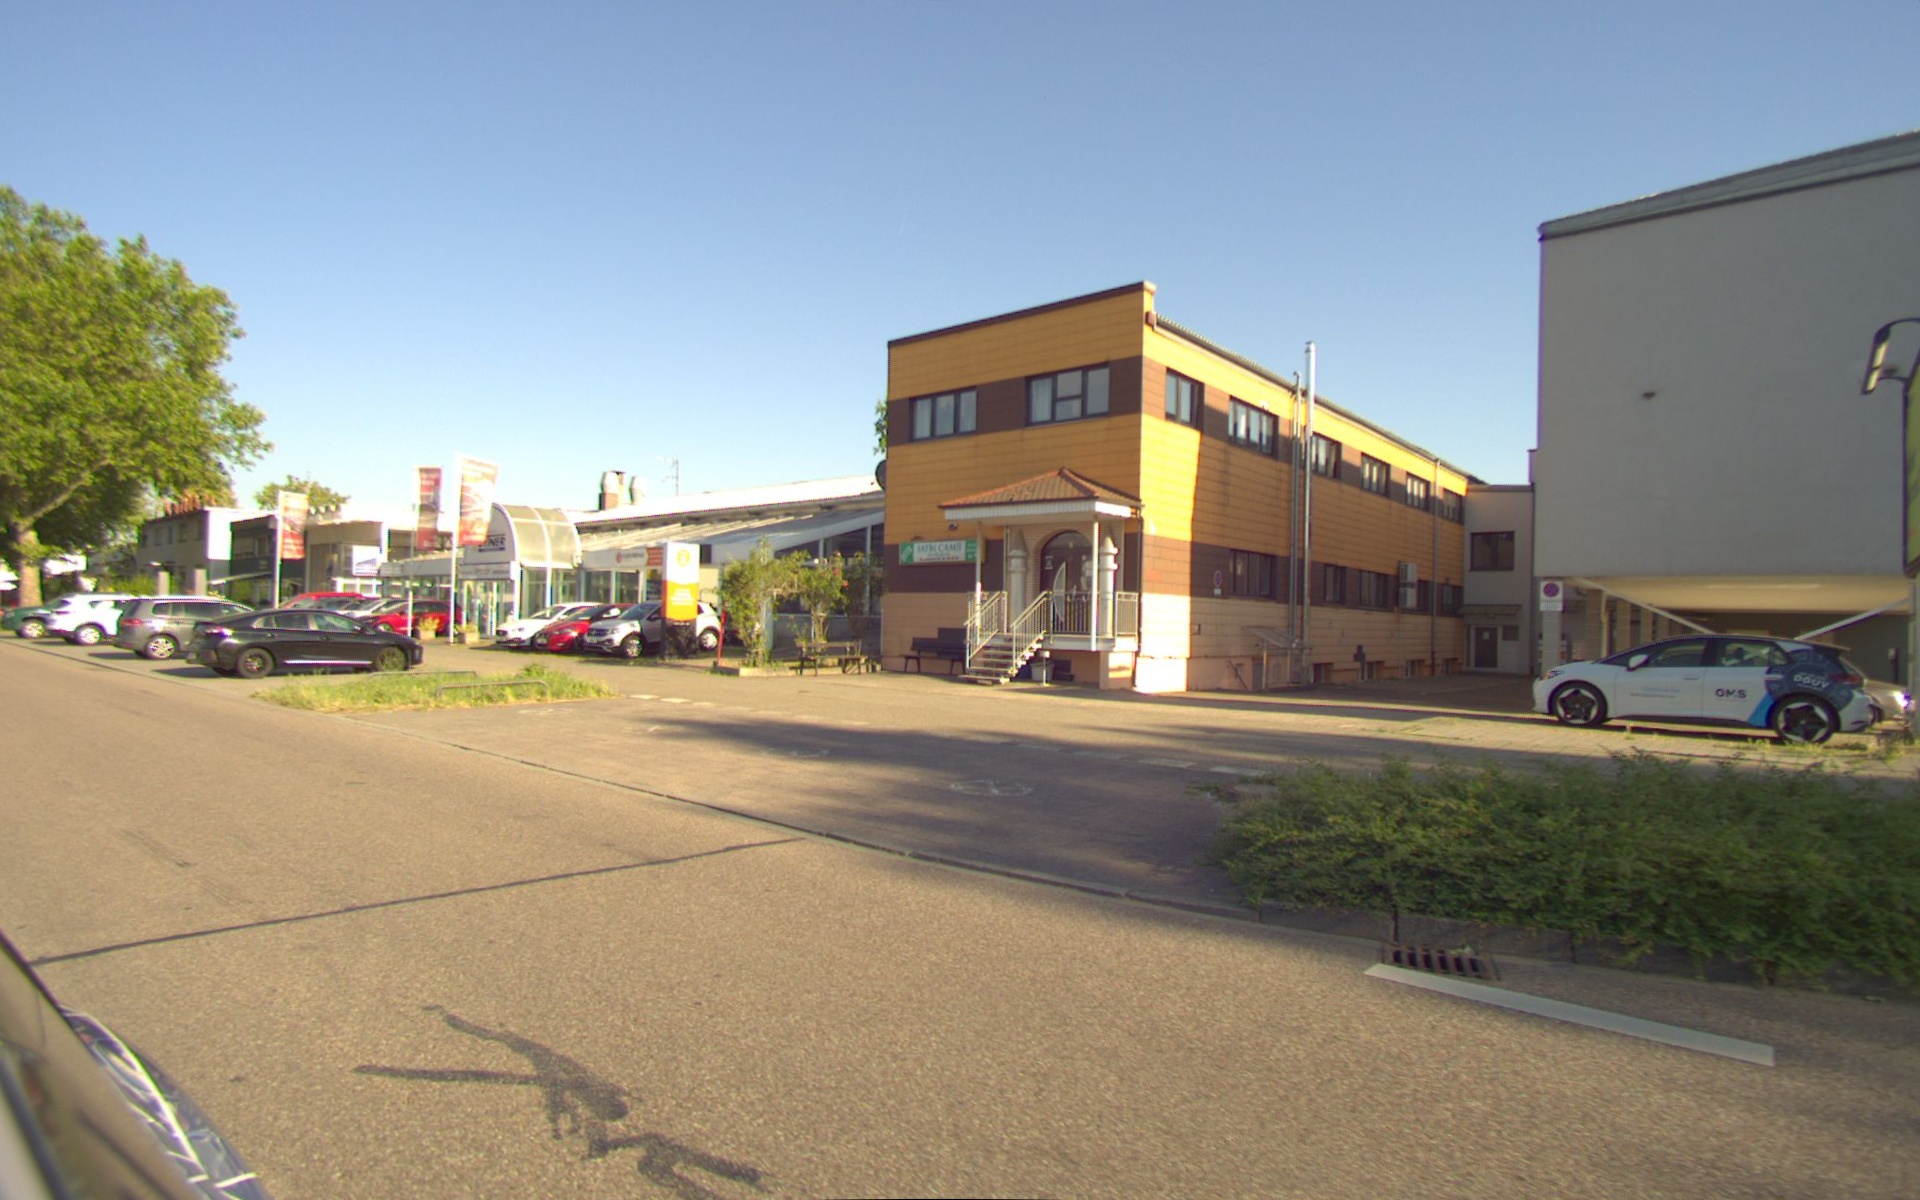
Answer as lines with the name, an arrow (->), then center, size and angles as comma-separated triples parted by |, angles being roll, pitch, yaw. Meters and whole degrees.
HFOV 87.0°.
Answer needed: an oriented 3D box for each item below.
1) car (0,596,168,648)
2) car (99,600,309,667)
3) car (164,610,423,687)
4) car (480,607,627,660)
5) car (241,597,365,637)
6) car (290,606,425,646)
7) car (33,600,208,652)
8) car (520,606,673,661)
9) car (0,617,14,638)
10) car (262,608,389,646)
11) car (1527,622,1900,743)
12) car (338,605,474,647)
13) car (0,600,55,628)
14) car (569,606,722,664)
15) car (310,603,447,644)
car -> -34.907, 0.843, 40.100 | 2.200, 1.913, 5.206 | 0, -1, 40
car -> -20.709, 0.871, 27.850 | 2.199, 1.668, 4.191 | 0, -1, 38
car -> -14.457, 0.983, 22.157 | 2.199, 1.471, 4.272 | 0, -1, 38
car -> -13.057, 1.039, 32.644 | 1.999, 1.567, 3.946 | 0, -1, 40
car -> -31.780, 0.812, 49.072 | 1.998, 1.833, 4.699 | 0, -1, 39
car -> -26.093, 1.084, 43.962 | 1.998, 1.655, 4.672 | 0, -1, 39
car -> -28.802, 0.854, 34.838 | 2.199, 1.668, 4.262 | 0, -1, 38
car -> -11.064, 0.978, 30.974 | 1.999, 1.567, 3.946 | 0, -1, 40
car -> -66.425, 1.810, 67.574 | 1.998, 1.433, 4.553 | -2, -3, 40
car -> -29.567, 1.231, 47.287 | 1.998, 1.646, 4.667 | 0, -1, 39
car -> 11.425, 1.203, 15.613 | 4.337, 1.589, 1.973 | -3, -3, 41
car -> -22.123, 1.005, 40.568 | 1.834, 1.565, 4.420 | 0, -1, 39
car -> -51.445, 0.731, 54.191 | 1.998, 1.457, 4.253 | 0, 0, 40
car -> -9.078, 0.960, 29.427 | 1.887, 1.567, 3.870 | 0, -1, 40
car -> -24.264, 0.959, 42.372 | 1.926, 1.604, 4.615 | 0, -1, 39
